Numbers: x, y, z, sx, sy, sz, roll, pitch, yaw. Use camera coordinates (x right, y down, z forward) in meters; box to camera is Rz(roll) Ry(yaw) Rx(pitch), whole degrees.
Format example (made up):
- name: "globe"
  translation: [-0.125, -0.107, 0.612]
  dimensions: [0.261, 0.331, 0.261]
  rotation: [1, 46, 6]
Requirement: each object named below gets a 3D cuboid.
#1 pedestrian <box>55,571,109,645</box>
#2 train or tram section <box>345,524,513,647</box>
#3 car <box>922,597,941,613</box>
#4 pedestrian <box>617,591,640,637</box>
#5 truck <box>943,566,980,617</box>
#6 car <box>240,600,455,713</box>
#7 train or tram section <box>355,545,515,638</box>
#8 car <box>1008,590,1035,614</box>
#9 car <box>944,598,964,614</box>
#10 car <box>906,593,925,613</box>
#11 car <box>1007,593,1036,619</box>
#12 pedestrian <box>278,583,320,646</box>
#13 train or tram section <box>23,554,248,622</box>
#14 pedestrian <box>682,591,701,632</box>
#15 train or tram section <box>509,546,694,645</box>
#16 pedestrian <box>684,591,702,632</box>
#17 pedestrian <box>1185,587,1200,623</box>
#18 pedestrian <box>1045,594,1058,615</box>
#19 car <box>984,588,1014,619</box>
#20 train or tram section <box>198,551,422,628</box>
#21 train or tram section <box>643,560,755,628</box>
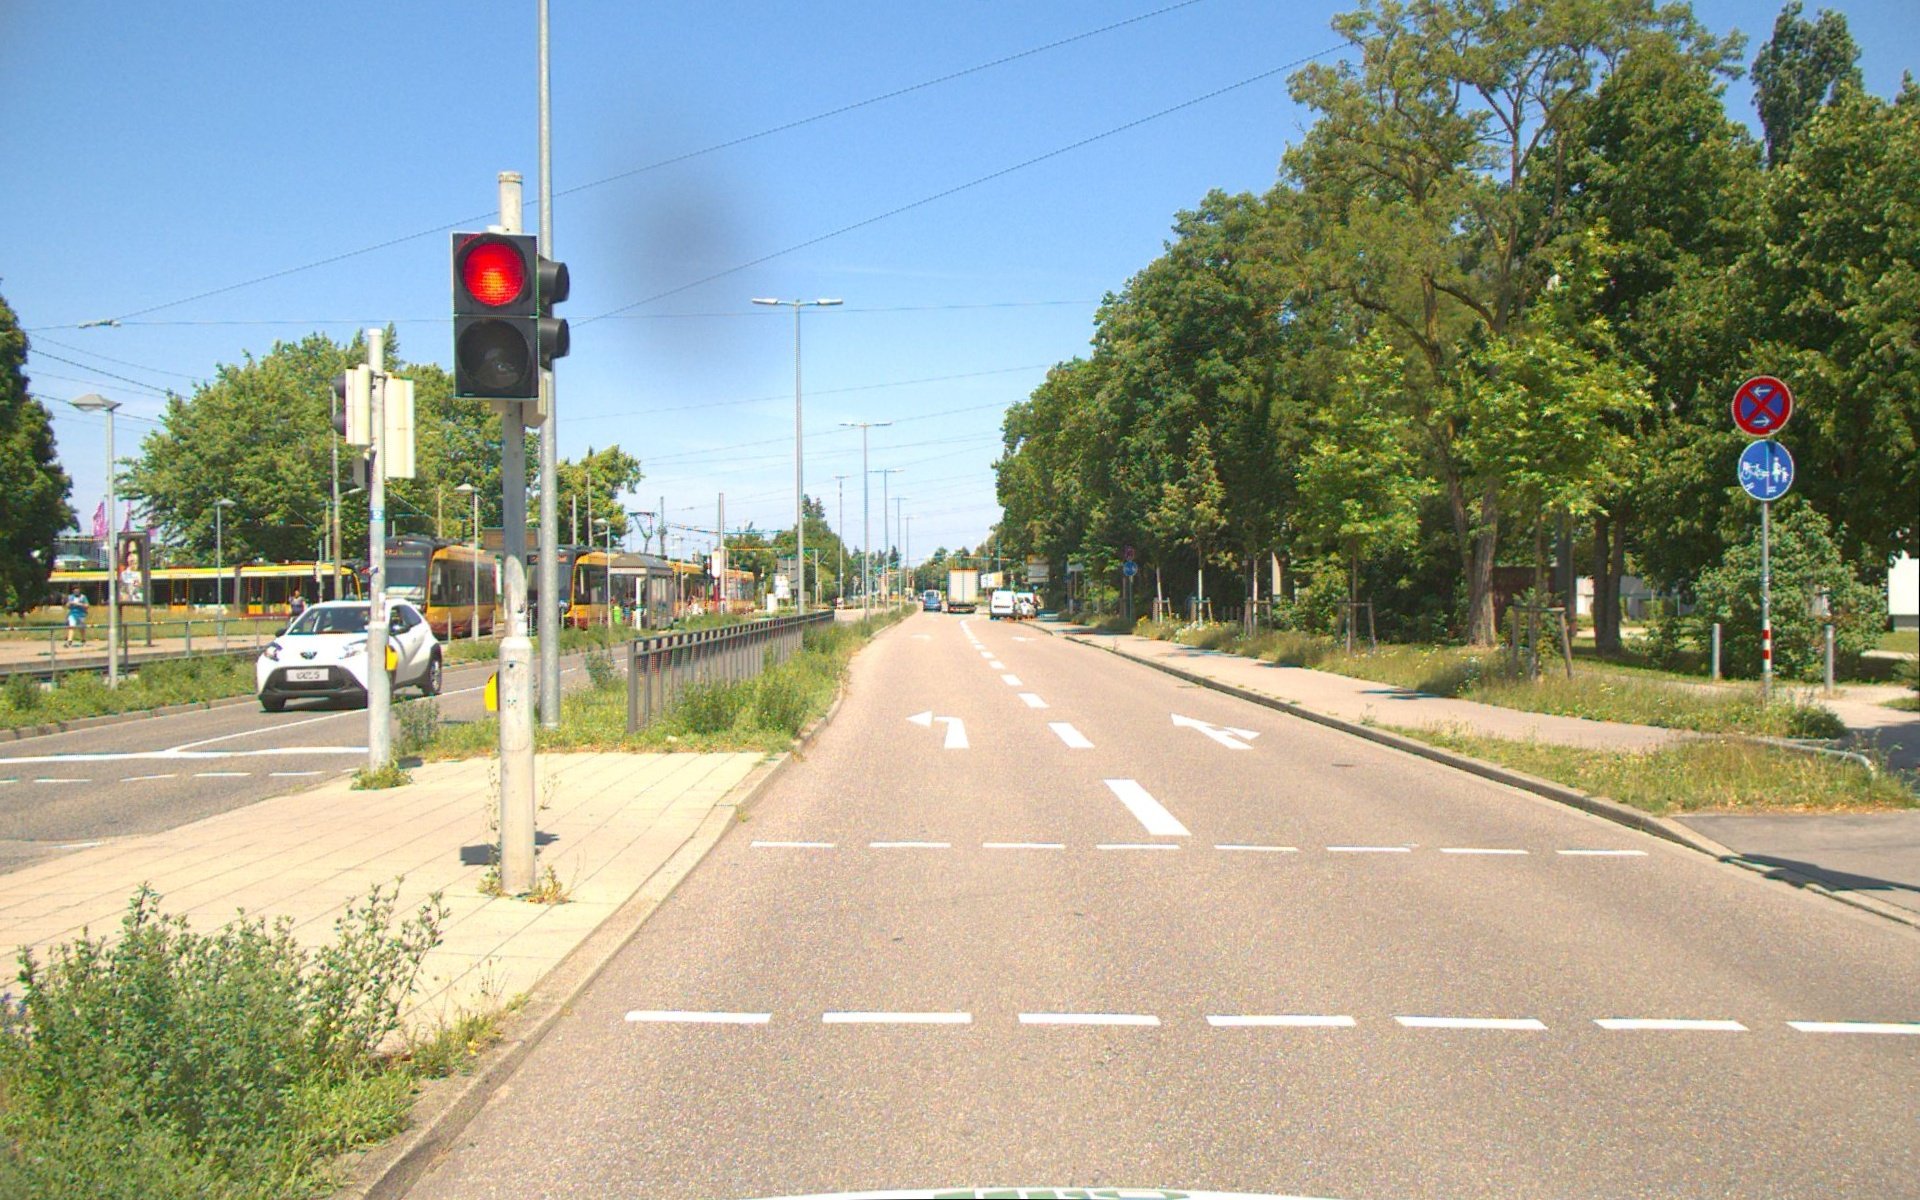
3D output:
- name: "pedestrian"
  translation: [-24.556, 0.228, 46.251]
  dimensions: [0.961, 2.049, 1.021]
  rotation: [0, 0, -1]
- name: "train or tram section"
  translation: [-19.859, -0.502, 63.342]
  dimensions: [3.156, 4.000, 18.463]
  rotation: [0, 0, -9]
- name: "car"
  translation: [-2.680, 0.512, 157.837]
  dimensions: [1.774, 1.490, 3.999]
  rotation: [0, 0, -1]
- name: "pedestrian"
  translation: [-13.848, 0.589, 69.083]
  dimensions: [0.769, 1.901, 0.817]
  rotation: [0, 0, -1]
- name: "truck"
  translation: [0.076, -0.739, 146.067]
  dimensions: [3.140, 4.435, 6.559]
  rotation: [0, 0, -1]
- name: "car"
  translation: [-8.952, 0.768, 24.514]
  dimensions: [1.807, 1.521, 3.790]
  rotation: [0, 0, -1]
- name: "train or tram section"
  translation: [-25.625, -0.384, 79.626]
  dimensions: [3.184, 4.000, 18.302]
  rotation: [0, 0, -31]
- name: "car"
  translation: [4.410, 0.111, 118.855]
  dimensions: [1.743, 1.698, 3.999]
  rotation: [0, 0, -1]
- name: "car"
  translation: [-0.585, 0.553, 153.601]
  dimensions: [1.774, 1.490, 3.999]
  rotation: [0, 0, -1]
- name: "car"
  translation: [-4.691, 0.322, 175.091]
  dimensions: [1.953, 2.049, 3.999]
  rotation: [0, 0, -1]
- name: "car"
  translation: [4.186, 0.392, 112.504]
  dimensions: [1.743, 1.698, 3.999]
  rotation: [0, 0, -1]
- name: "pedestrian"
  translation: [-21.579, 0.472, 54.002]
  dimensions: [0.961, 2.049, 1.021]
  rotation: [0, 0, -1]
- name: "train or tram section"
  translation: [-51.604, -0.675, 103.081]
  dimensions: [18.096, 4.000, 3.220]
  rotation: [0, 0, 30]
- name: "pedestrian"
  translation: [-13.740, 0.586, 84.731]
  dimensions: [0.798, 2.049, 0.938]
  rotation: [0, 0, -1]
- name: "train or tram section"
  translation: [-16.257, -0.237, 78.891]
  dimensions: [2.898, 3.815, 30.025]
  rotation: [0, 0, -1]
- name: "pedestrian"
  translation: [-13.463, 0.585, 83.442]
  dimensions: [0.798, 2.049, 0.938]
  rotation: [0, 0, -1]
- name: "pedestrian"
  translation: [9.506, 0.215, 67.546]
  dimensions: [0.591, 1.463, 0.556]
  rotation: [0, 0, 6]
- name: "pedestrian"
  translation: [9.043, 0.438, 163.245]
  dimensions: [1.161, 2.049, 1.213]
  rotation: [0, 0, -1]
- name: "car"
  translation: [2.457, 0.215, 105.551]
  dimensions: [1.743, 1.937, 3.999]
  rotation: [0, 0, -1]
- name: "train or tram section"
  translation: [-36.840, -0.546, 92.951]
  dimensions: [18.148, 4.000, 3.210]
  rotation: [0, 0, 39]
- name: "train or tram section"
  translation: [-16.875, -0.388, 110.423]
  dimensions: [2.871, 3.856, 33.079]
  rotation: [0, 0, -1]
